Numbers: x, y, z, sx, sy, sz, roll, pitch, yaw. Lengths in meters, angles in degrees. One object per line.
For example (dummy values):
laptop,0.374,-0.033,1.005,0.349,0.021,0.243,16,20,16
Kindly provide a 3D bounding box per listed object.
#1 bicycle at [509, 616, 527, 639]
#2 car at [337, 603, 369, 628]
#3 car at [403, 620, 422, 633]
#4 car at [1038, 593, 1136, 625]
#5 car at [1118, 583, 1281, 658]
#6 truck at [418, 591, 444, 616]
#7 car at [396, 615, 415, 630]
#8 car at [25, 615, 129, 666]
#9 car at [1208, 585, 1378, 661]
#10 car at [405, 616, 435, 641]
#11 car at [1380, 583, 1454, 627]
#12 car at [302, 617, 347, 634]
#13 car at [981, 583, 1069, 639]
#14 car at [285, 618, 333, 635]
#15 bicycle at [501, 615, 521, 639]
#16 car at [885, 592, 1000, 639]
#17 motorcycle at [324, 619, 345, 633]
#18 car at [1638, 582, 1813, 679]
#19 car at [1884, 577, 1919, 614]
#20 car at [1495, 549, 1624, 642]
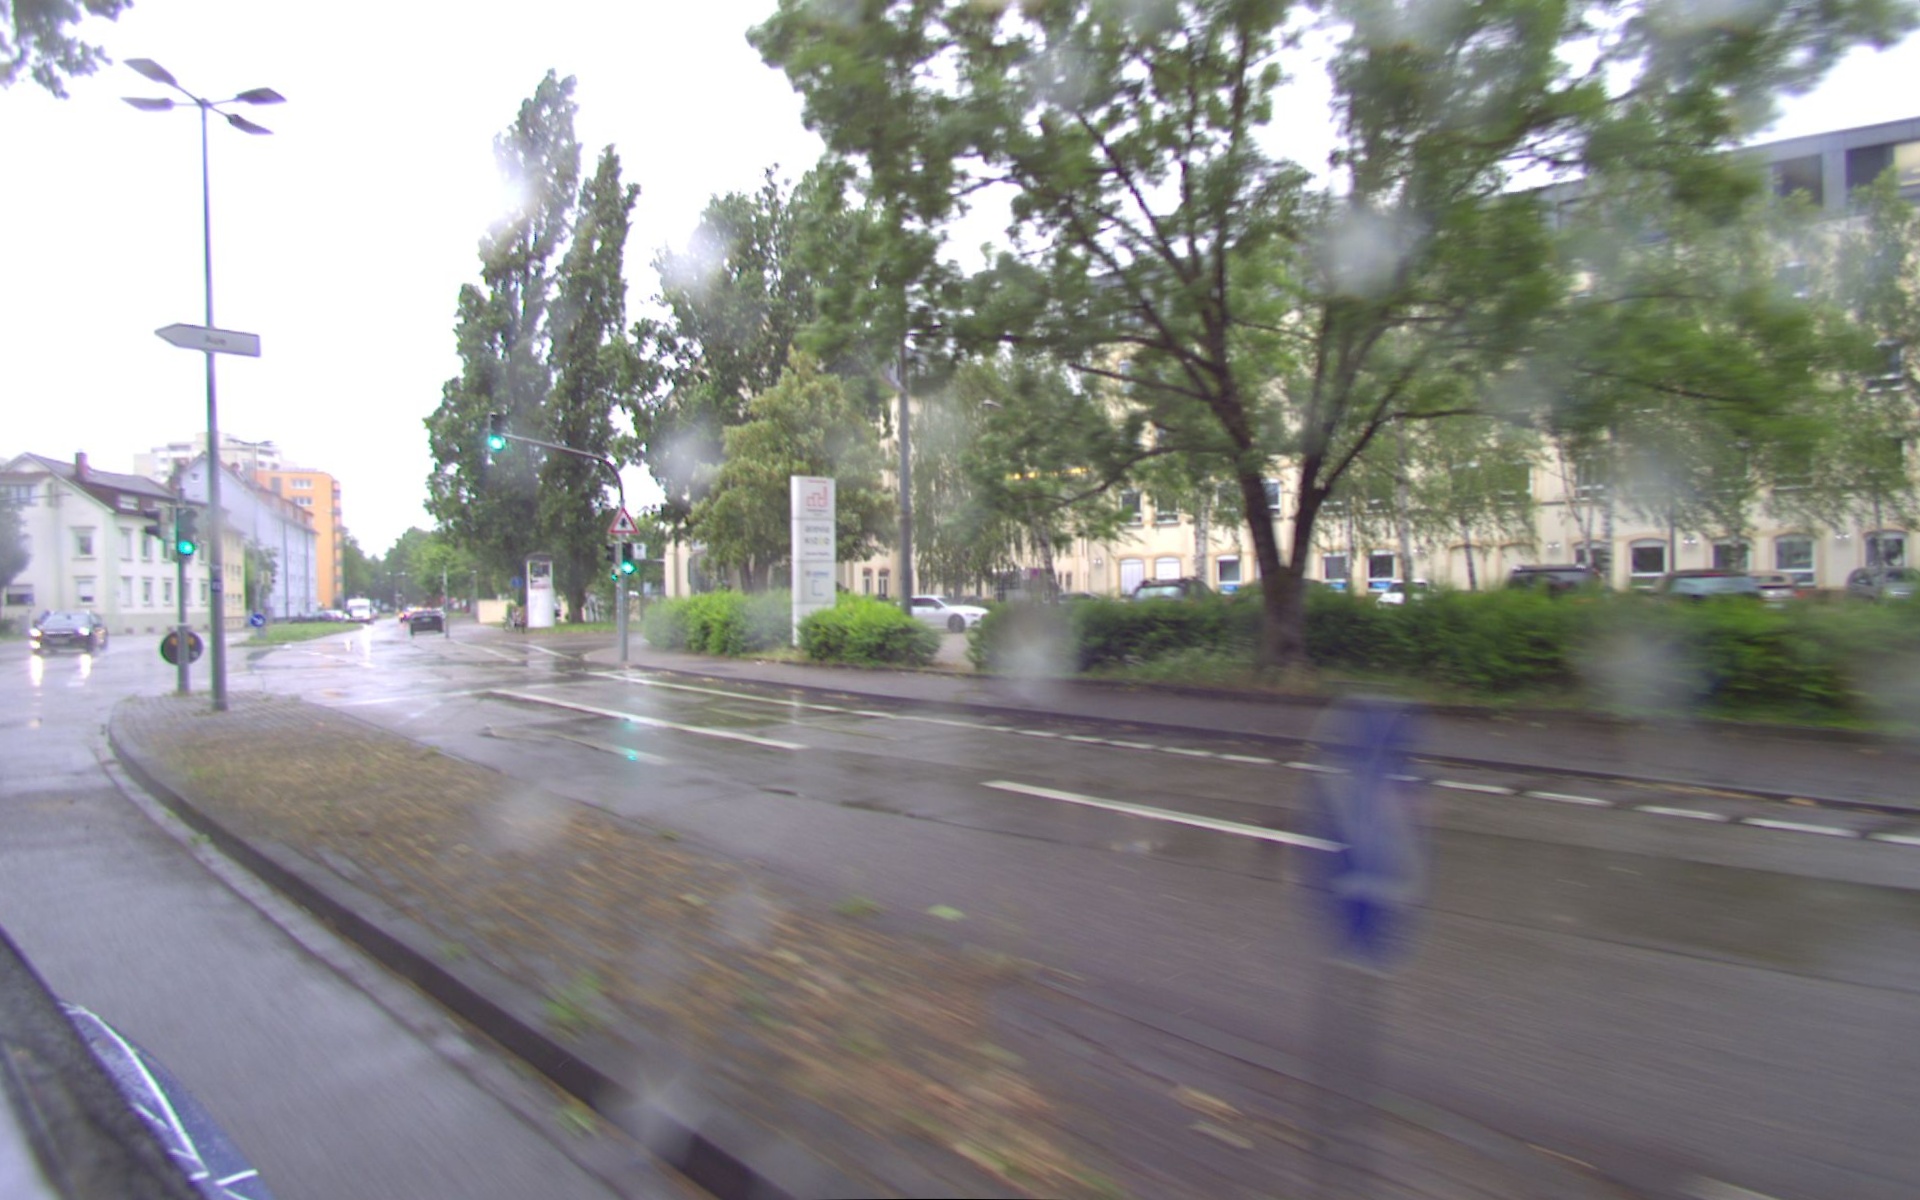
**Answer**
bicycle,-22.231,1.379,50.906,0.548,1.085,1.801,-2,0,-32
car,-59.821,1.524,99.810,2.158,2.272,4.900,-2,1,-26
car,-68.512,3.346,126.724,1.966,1.431,4.013,-2,1,-27
car,6.403,0.466,51.125,4.520,1.511,1.977,-2,1,34
car,5.746,0.432,24.033,3.940,1.549,1.926,-2,1,-44
truck,-98.452,0.709,188.355,3.769,4.418,10.821,-2,1,-25
car,-63.479,2.556,115.880,1.780,1.521,4.207,-3,1,-28
car,-32.270,1.427,37.113,1.801,1.641,4.013,-2,1,-25
car,7.411,0.459,22.374,3.940,1.434,1.926,-2,1,-44
car,-33.102,1.713,62.036,1.523,1.407,4.207,-3,1,-28
car,17.027,0.173,37.621,1.994,1.530,3.956,-1,-1,32
car,-68.812,2.706,109.661,3.859,1.627,1.697,-2,1,-25
car,4.124,0.616,63.170,2.829,3.217,6.149,-2,1,32
car,-64.725,2.642,100.672,3.698,1.466,1.806,-2,-1,-25
bicycle,-23.917,1.419,53.881,0.688,1.195,1.629,-2,0,-32
car,-0.680,0.587,38.390,4.006,1.699,1.765,-1,-1,28
motorcycle,-65.637,2.755,106.225,1.738,1.383,0.737,-2,0,-25
car,12.722,0.435,16.724,3.941,1.348,1.717,-2,1,-44
car,31.256,-0.163,32.667,1.647,1.132,3.951,-1,0,36
car,11.764,-0.110,19.740,1.649,1.623,3.949,-2,1,38
